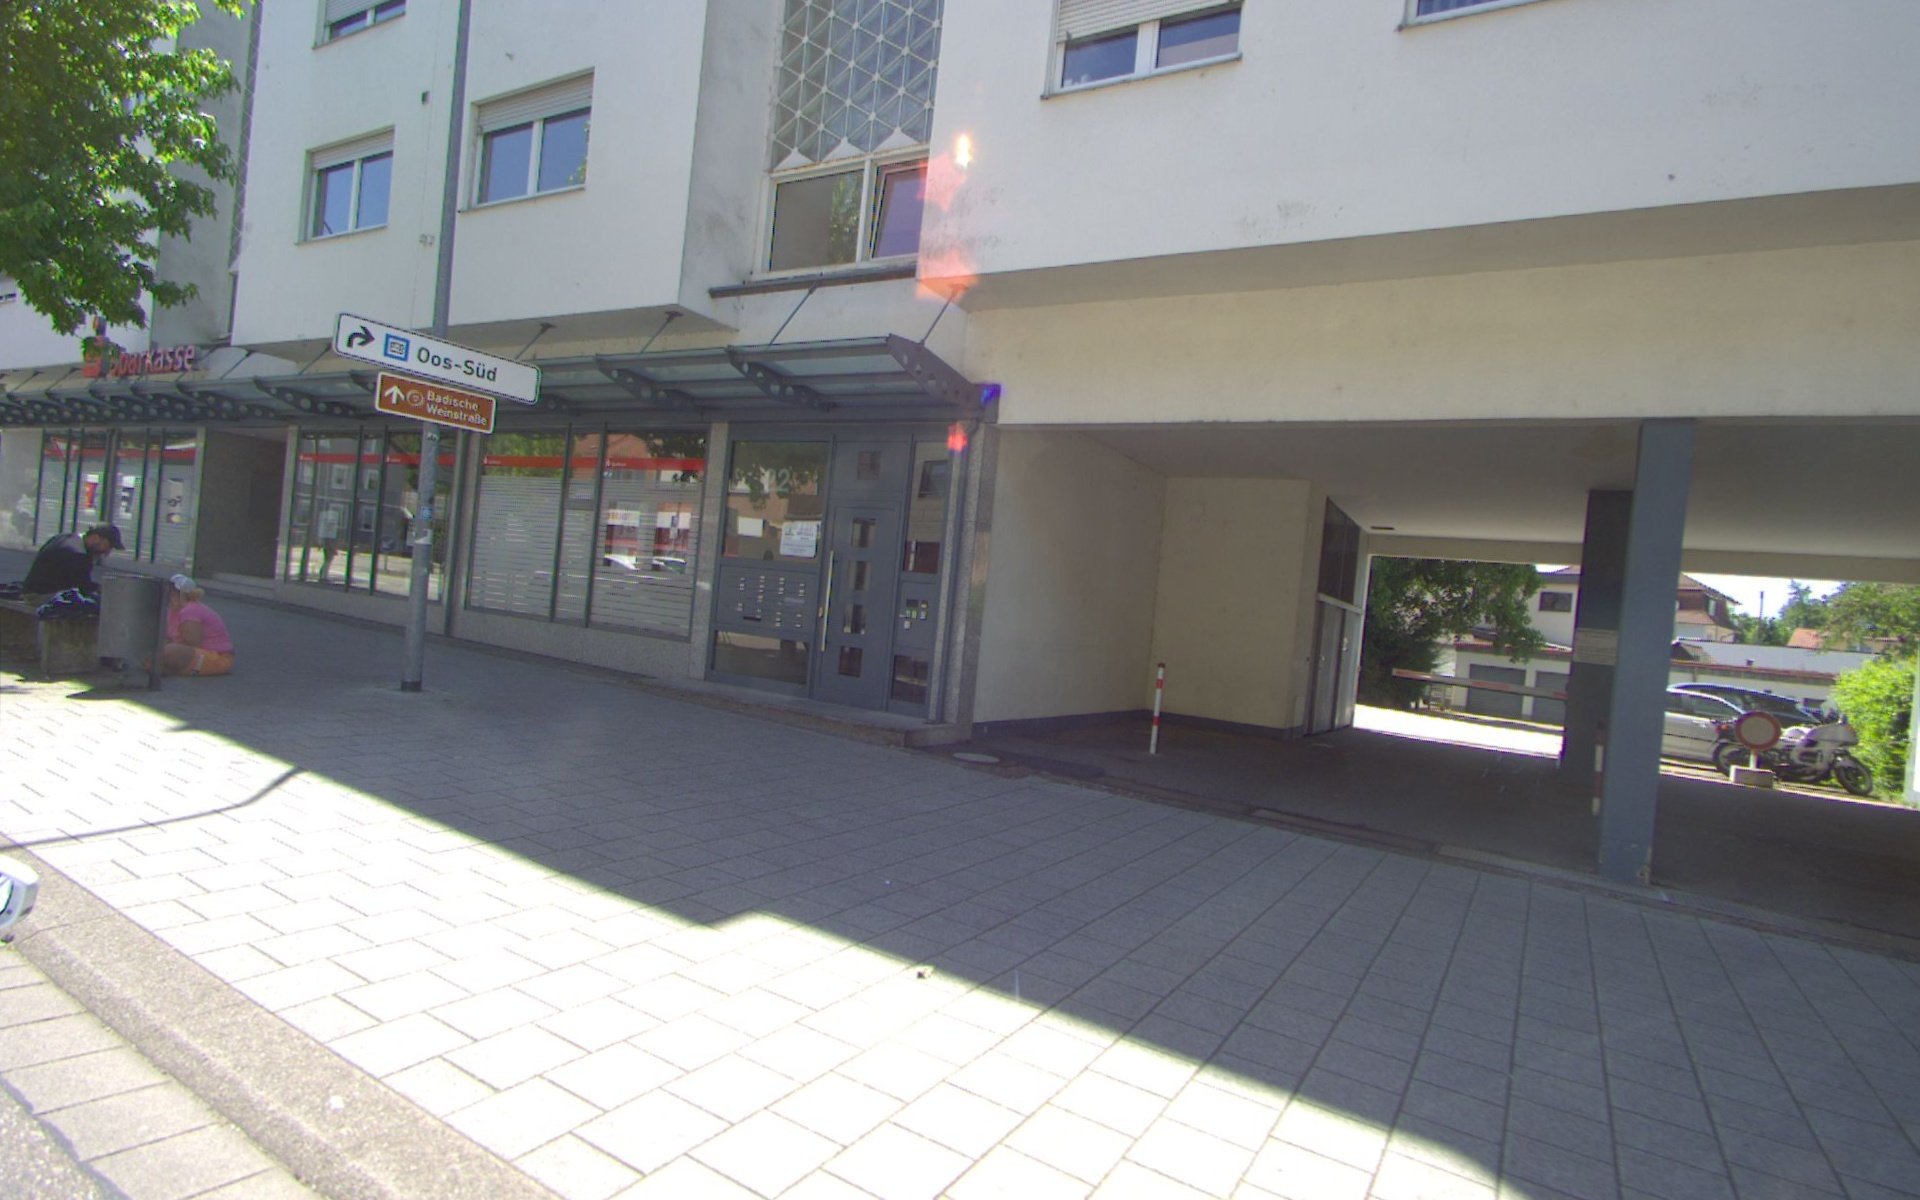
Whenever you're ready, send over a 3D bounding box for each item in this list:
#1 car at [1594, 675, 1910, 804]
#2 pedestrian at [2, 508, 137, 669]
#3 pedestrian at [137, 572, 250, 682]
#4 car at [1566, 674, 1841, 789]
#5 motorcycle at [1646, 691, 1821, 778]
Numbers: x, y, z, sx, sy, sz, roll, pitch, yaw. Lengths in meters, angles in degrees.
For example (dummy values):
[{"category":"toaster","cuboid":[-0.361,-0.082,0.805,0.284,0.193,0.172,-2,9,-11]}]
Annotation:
[{"category":"car","cuboid":[13.336,2.285,17.290,3.933,1.471,1.731,6,0,31]},{"category":"pedestrian","cuboid":[-7.407,-0.089,8.374,0.758,1.256,0.531,5,2,-44]},{"category":"pedestrian","cuboid":[-6.556,0.233,8.609,0.675,0.863,0.531,5,2,-44]},{"category":"car","cuboid":[13.934,2.410,19.177,3.933,1.471,1.731,6,0,31]},{"category":"motorcycle","cuboid":[15.666,2.685,20.517,2.560,1.308,1.307,6,0,31]}]
